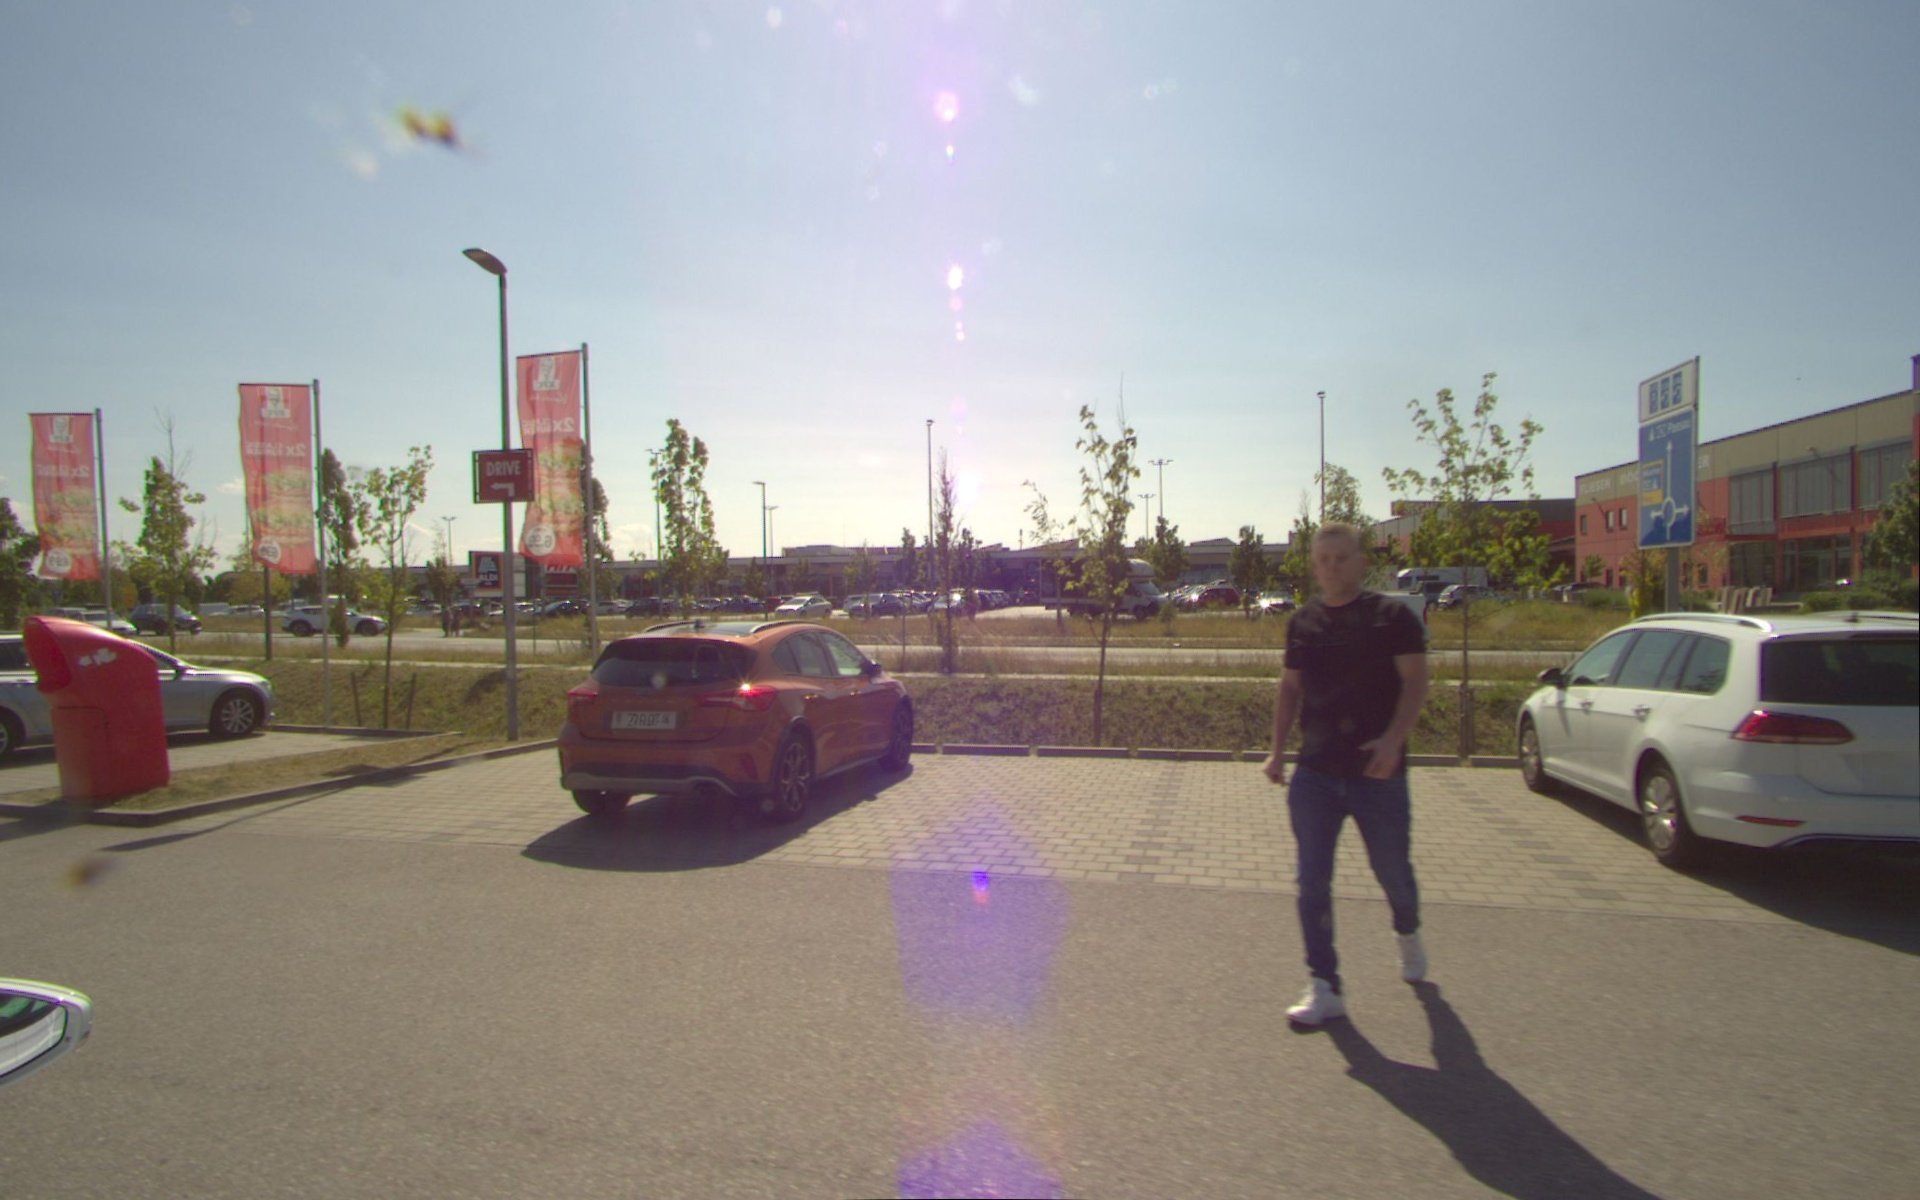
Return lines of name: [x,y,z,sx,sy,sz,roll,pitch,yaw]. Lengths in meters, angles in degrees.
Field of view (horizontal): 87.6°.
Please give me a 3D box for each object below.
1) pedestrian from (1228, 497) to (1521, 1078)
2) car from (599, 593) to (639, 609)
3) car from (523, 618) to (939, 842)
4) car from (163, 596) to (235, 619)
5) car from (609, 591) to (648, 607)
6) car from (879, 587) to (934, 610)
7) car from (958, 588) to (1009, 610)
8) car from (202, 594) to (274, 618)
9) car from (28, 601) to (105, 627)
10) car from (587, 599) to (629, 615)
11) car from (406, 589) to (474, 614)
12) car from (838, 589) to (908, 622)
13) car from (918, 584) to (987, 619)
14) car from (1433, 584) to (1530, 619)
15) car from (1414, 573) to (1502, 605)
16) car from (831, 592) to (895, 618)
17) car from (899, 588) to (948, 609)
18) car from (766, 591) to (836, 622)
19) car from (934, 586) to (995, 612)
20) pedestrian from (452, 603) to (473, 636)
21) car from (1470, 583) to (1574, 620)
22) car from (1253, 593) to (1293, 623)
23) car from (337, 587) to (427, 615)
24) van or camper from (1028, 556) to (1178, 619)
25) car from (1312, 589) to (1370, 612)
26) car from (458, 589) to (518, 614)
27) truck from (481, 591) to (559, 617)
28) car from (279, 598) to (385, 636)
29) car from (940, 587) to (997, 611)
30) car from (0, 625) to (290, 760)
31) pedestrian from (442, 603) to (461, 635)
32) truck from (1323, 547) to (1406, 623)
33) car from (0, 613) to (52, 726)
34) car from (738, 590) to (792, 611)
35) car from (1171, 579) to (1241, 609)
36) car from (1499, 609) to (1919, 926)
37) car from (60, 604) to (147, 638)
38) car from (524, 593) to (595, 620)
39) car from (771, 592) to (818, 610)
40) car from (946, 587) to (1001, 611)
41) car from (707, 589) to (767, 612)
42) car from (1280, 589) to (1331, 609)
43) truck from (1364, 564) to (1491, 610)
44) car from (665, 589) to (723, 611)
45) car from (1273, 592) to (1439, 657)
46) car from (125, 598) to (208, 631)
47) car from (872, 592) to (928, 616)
pedestrian: [1.575,0.604,3.771,0.718,1.832,0.986,0,0,44]
car: [-33.658,0.076,98.853,3.408,1.573,1.666,0,1,3]
car: [-1.681,0.918,9.009,1.800,1.488,4.349,0,-1,16]
car: [-69.595,0.666,91.673,1.964,2.040,5.068,0,0,17]
car: [-34.462,-0.121,104.164,3.408,1.573,1.666,0,1,3]
car: [-4.472,-0.124,84.080,4.319,1.880,1.955,0,1,8]
car: [2.081,-0.101,88.202,4.319,1.880,1.955,0,1,8]
car: [-64.435,0.513,89.511,1.964,2.040,5.068,0,0,17]
car: [-54.522,0.810,61.107,4.582,1.524,1.992,0,0,27]
car: [-33.846,0.659,96.289,3.408,1.573,1.666,0,1,3]
car: [-43.309,0.106,83.487,1.964,2.040,5.171,0,0,17]
car: [-5.104,0.331,59.224,1.927,1.880,4.383,1,0,31]
car: [-0.390,0.062,56.734,1.927,1.880,4.383,1,0,31]
car: [28.801,0.078,55.425,4.319,1.880,1.955,0,1,8]
car: [30.002,-0.651,60.413,4.319,1.880,1.955,0,1,8]
car: [-7.106,0.363,73.600,4.319,1.880,1.955,0,1,8]
car: [-3.342,-0.132,91.911,4.319,1.880,1.955,0,1,5]
car: [-9.720,0.377,61.417,1.970,1.880,4.265,1,0,31]
car: [0.364,-0.086,75.097,4.319,1.880,1.955,0,1,8]
pedestrian: [-24.805,0.943,49.919,0.746,1.621,0.688,1,1,33]
car: [29.401,0.086,52.519,4.319,1.880,1.955,0,1,8]
car: [16.080,0.381,51.543,1.624,1.479,3.963,0,0,12]
car: [-48.624,0.091,84.444,2.768,2.267,6.297,0,0,21]
van or camper: [7.519,-0.637,53.605,7.963,3.143,2.399,0,1,42]
car: [32.745,0.045,86.133,4.319,1.880,1.955,0,1,8]
car: [-38.394,0.116,81.558,1.970,2.040,4.070,1,0,31]
truck: [-33.204,0.311,75.712,1.968,1.888,5.412,1,0,27]
car: [-32.018,0.864,51.239,4.337,1.870,1.992,0,1,-25]
car: [0.699,-0.093,79.999,4.319,1.880,1.955,0,1,8]
car: [-10.847,1.035,11.996,1.710,1.431,4.592,0,-1,20]
pedestrian: [-25.591,0.933,50.375,0.658,1.577,0.622,1,1,33]
truck: [20.052,-0.717,49.996,2.716,3.527,6.826,0,0,13]
car: [-15.397,0.998,13.549,1.917,1.659,4.223,0,-1,20]
car: [-17.706,0.050,90.976,4.485,1.880,1.955,0,1,8]
car: [15.771,-0.376,64.417,4.185,1.880,1.869,0,1,8]
car: [5.278,0.829,6.804,1.799,1.488,4.478,0,-1,14]
car: [-42.103,1.008,49.220,4.590,1.547,1.989,0,0,32]
car: [-29.045,0.429,72.766,1.969,1.870,4.713,1,0,28]
car: [-17.091,0.082,103.510,4.319,1.880,1.955,0,1,8]
car: [1.167,-0.094,82.337,4.319,1.880,1.955,0,1,8]
car: [-18.459,0.020,82.975,4.485,1.880,1.955,0,1,8]
car: [33.257,-0.098,96.361,4.319,1.880,1.955,0,1,8]
truck: [29.408,-0.834,63.161,6.922,2.852,1.955,0,1,8]
car: [-25.189,-0.042,94.925,4.836,2.040,2.082,0,1,4]
car: [12.698,0.759,32.447,4.805,1.980,1.876,0,1,15]
car: [-42.897,0.766,54.132,4.532,1.686,1.871,0,1,28]
car: [-4.878,0.331,81.571,4.319,1.880,1.955,0,1,8]
